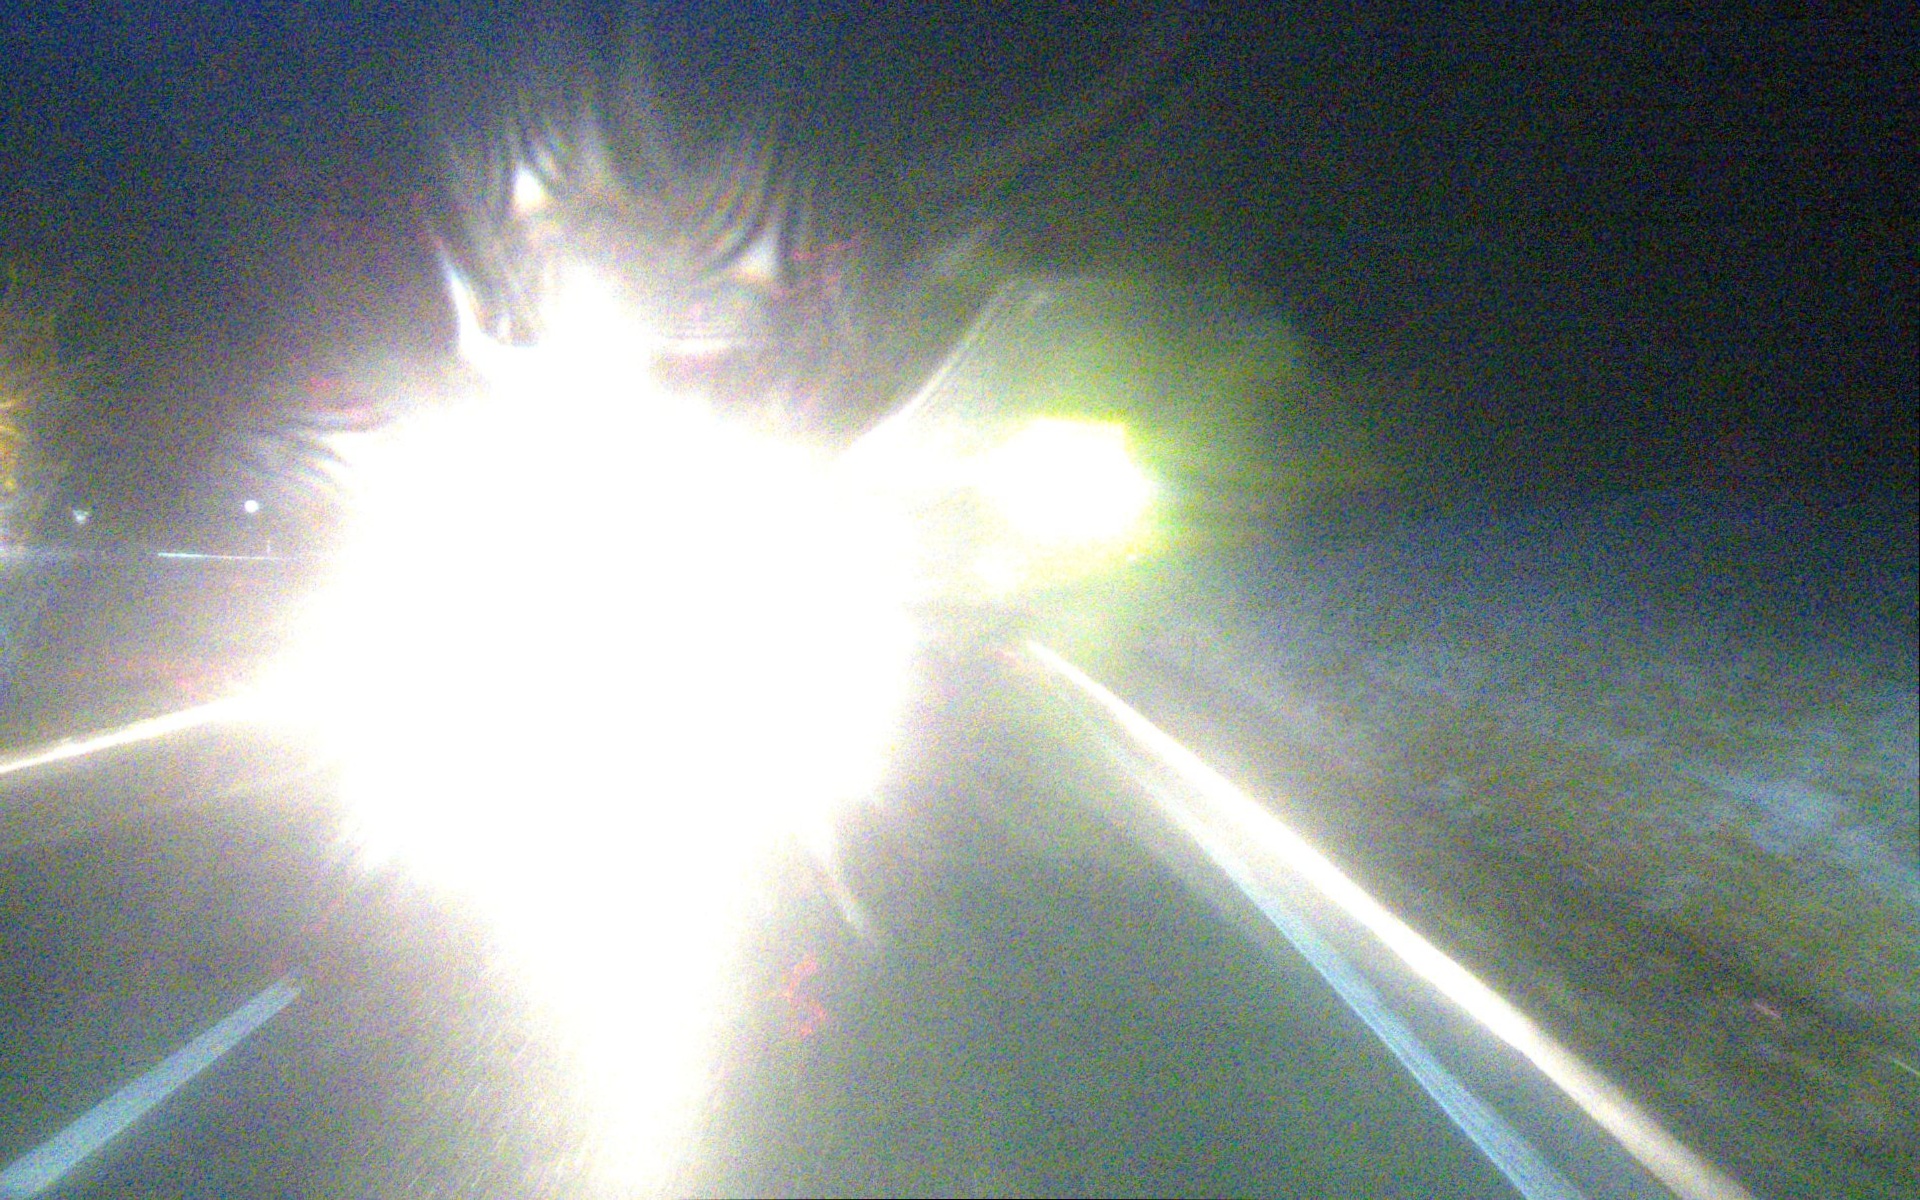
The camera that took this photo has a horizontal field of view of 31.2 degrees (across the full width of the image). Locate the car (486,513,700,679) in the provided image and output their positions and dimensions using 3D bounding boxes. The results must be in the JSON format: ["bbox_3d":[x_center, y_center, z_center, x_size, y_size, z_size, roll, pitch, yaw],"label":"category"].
[{"bbox_3d":[-5.506,-0.059,52.515,2.752,2.261,6.262,-3,0,-2],"label":"car"}]
